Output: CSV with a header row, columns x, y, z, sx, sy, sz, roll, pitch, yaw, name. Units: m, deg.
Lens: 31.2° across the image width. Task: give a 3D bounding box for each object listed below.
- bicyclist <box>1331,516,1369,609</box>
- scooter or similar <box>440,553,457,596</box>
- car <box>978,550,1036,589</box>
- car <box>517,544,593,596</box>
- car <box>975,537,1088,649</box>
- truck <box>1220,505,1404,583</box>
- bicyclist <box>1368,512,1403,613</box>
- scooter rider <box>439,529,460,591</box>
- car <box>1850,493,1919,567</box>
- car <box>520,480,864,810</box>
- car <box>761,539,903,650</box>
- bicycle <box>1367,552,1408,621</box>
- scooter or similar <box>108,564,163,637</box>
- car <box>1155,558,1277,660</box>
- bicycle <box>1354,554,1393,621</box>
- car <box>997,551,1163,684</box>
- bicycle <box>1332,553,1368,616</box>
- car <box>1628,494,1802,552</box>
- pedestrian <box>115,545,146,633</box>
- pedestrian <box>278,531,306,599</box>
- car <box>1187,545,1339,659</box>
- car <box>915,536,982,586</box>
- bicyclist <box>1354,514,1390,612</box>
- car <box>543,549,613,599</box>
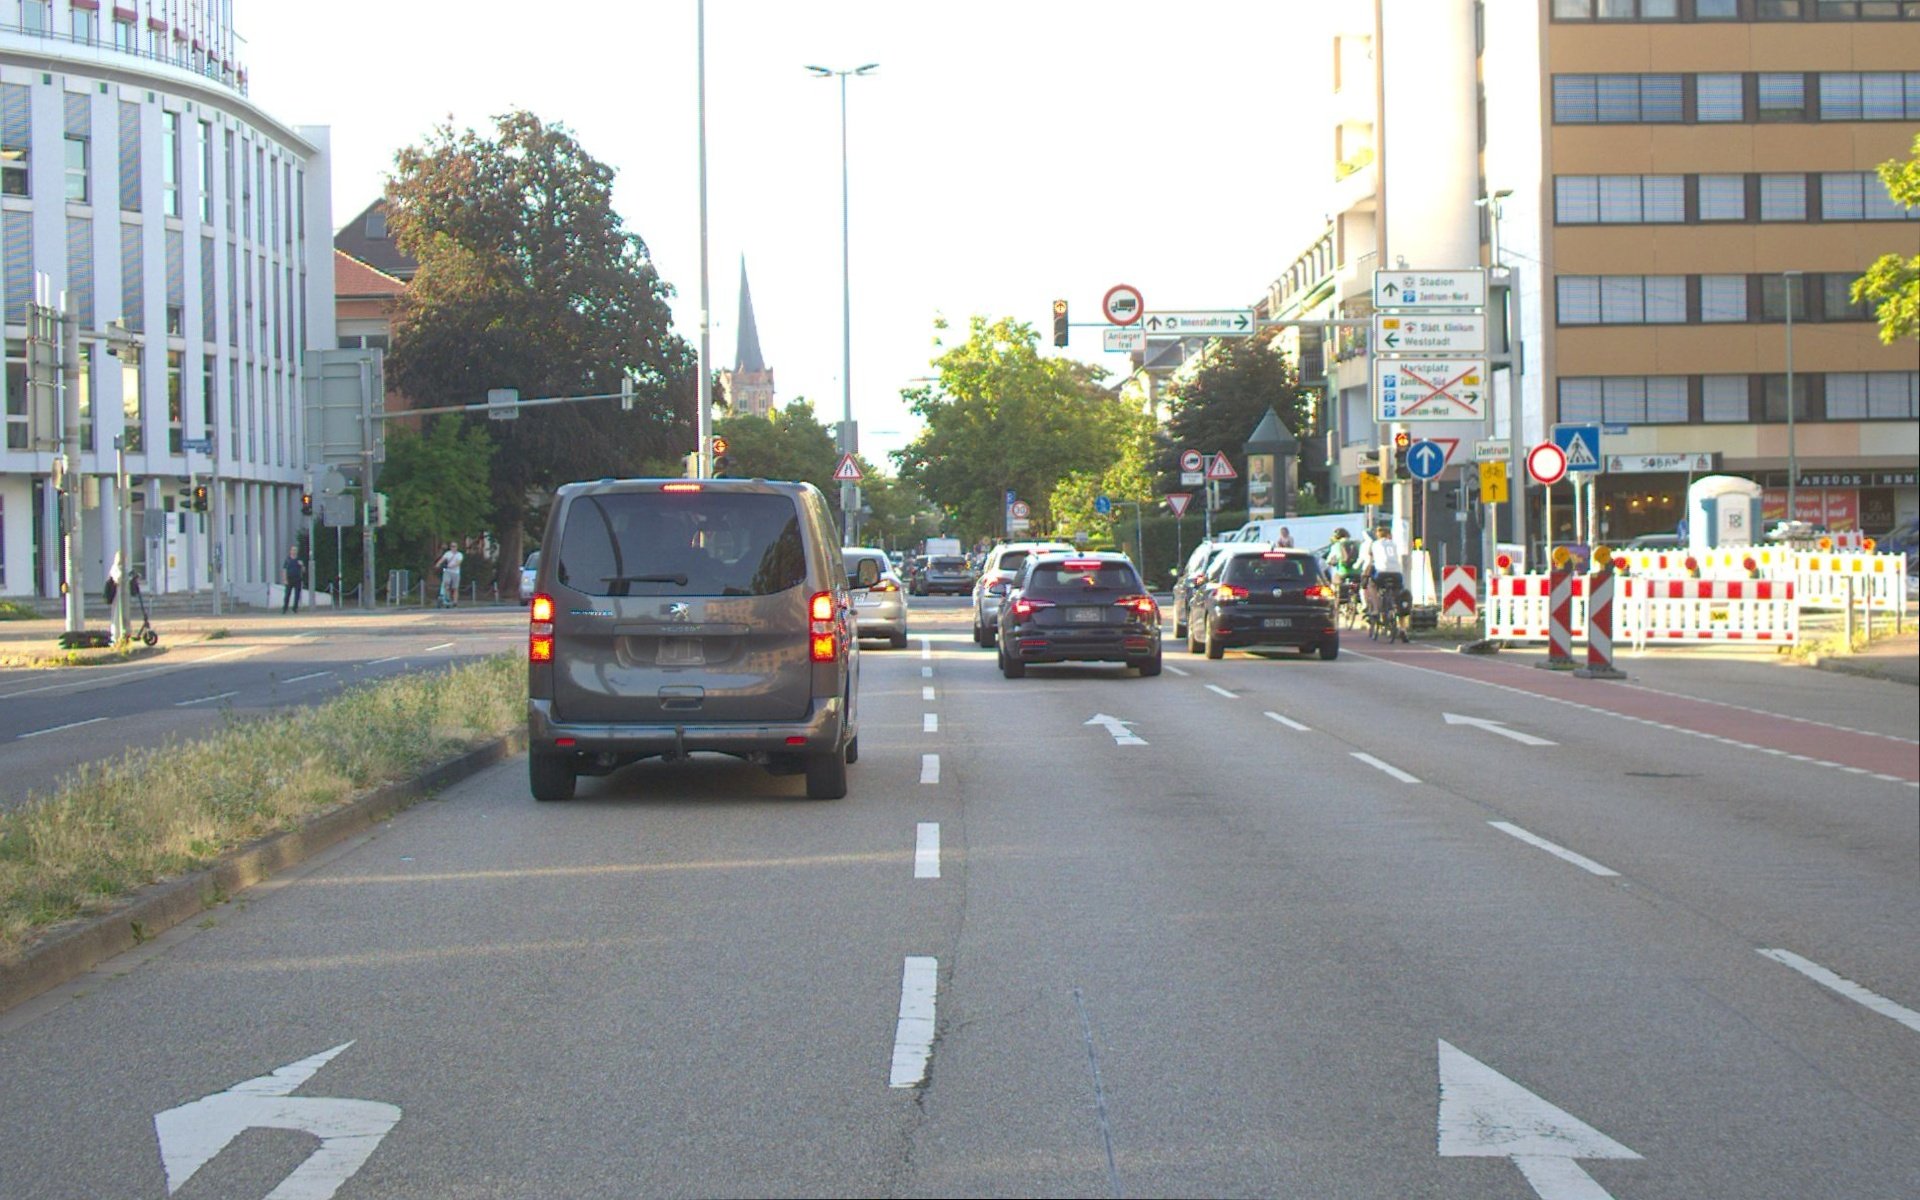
x,y,z,sx,sy,sz,roll,pitch,yaw,name
6.450,-0.616,56.818,0.513,1.520,0.725,-1,1,-1,bicyclist
-14.129,-0.710,94.992,0.285,1.184,1.169,-1,1,-1,scooter or similar
1.731,-1.135,127.667,1.904,1.368,4.001,-1,1,-3,car
-11.635,-0.871,99.009,1.856,1.415,4.001,-1,1,-3,car
1.043,-0.136,51.583,1.528,1.608,3.745,0,1,-1,car
9.846,-1.570,96.210,4.625,2.079,2.131,0,1,34,truck
6.421,-0.567,51.870,0.441,1.520,0.482,-1,1,-1,bicyclist
-14.102,-1.107,94.980,0.481,1.691,0.636,-1,1,-1,scooter rider
24.759,-1.786,86.428,4.215,1.811,2.000,-1,1,-1,car
-1.580,0.210,21.728,1.906,1.857,4.527,0,1,-1,car
-1.871,-0.114,50.944,1.993,1.525,4.000,-1,1,-1,car
6.441,-0.216,51.880,0.336,1.004,1.856,-1,1,-1,bicycle
-14.164,0.005,59.054,0.893,1.229,0.371,-1,1,-12,scooter or similar
3.853,0.112,52.118,1.504,1.444,3.305,-1,1,-1,car
6.495,-0.203,54.019,0.336,1.004,1.856,-1,1,-1,bicycle
1.343,0.164,40.046,1.681,1.416,4.214,0,1,-1,car
6.437,-0.263,56.824,0.336,1.004,1.856,-1,1,-1,bicycle
19.365,-1.968,88.280,3.986,1.415,1.788,-1,1,-7,car
-14.266,-0.188,59.134,0.474,1.500,0.335,-1,1,-13,pedestrian
-17.051,-0.904,87.762,0.625,1.716,0.671,-1,1,-15,pedestrian
4.050,0.002,46.466,1.633,1.444,3.745,0,1,-1,car
-0.414,-1.365,118.323,1.993,1.656,4.001,-1,1,-4,car
6.487,-0.588,54.094,0.441,1.520,0.725,-1,1,-1,bicyclist
-11.641,-0.807,104.972,1.856,1.415,4.001,-1,1,-3,car
